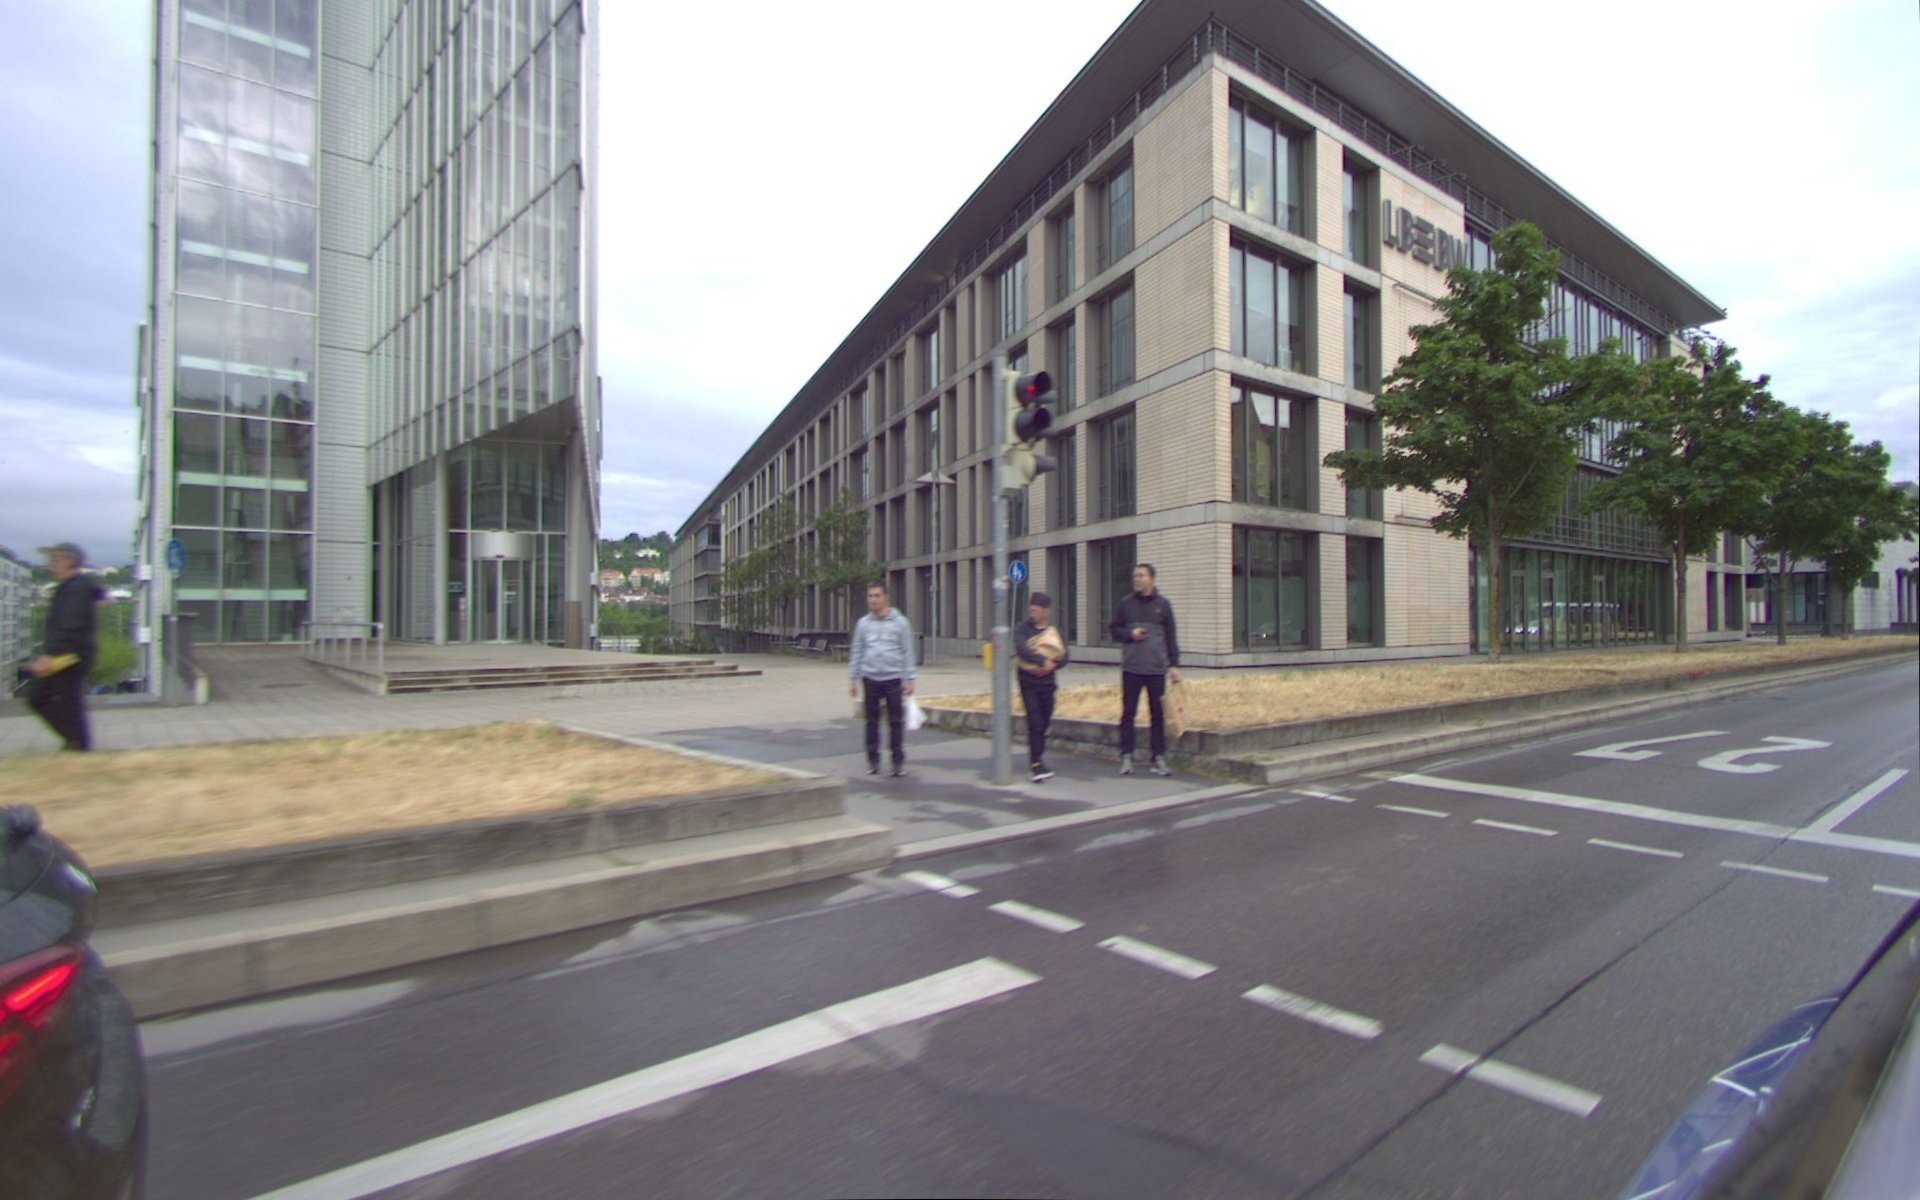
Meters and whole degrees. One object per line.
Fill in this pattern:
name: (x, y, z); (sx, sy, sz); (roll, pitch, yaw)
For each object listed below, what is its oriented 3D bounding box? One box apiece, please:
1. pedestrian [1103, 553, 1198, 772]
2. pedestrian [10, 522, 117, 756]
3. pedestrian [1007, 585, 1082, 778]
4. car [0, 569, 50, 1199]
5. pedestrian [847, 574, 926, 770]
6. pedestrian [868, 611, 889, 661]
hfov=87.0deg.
pedestrian: (1.660, 0.511, 8.769); (0.771, 1.793, 0.725); (0, 0, 13)
pedestrian: (-6.607, 0.275, 7.484); (0.537, 1.632, 0.660); (1, -2, -40)
pedestrian: (0.691, 0.652, 8.414); (0.589, 1.547, 0.542); (0, 0, 3)
car: (-3.207, 0.677, 0.490); (4.084, 1.393, 1.725); (-1, 0, -42)
pedestrian: (-0.627, 0.595, 8.639); (0.643, 1.619, 0.462); (0, 0, -4)
pedestrian: (-2.955, 1.302, 36.713); (0.621, 1.767, 0.637); (0, 0, -20)
